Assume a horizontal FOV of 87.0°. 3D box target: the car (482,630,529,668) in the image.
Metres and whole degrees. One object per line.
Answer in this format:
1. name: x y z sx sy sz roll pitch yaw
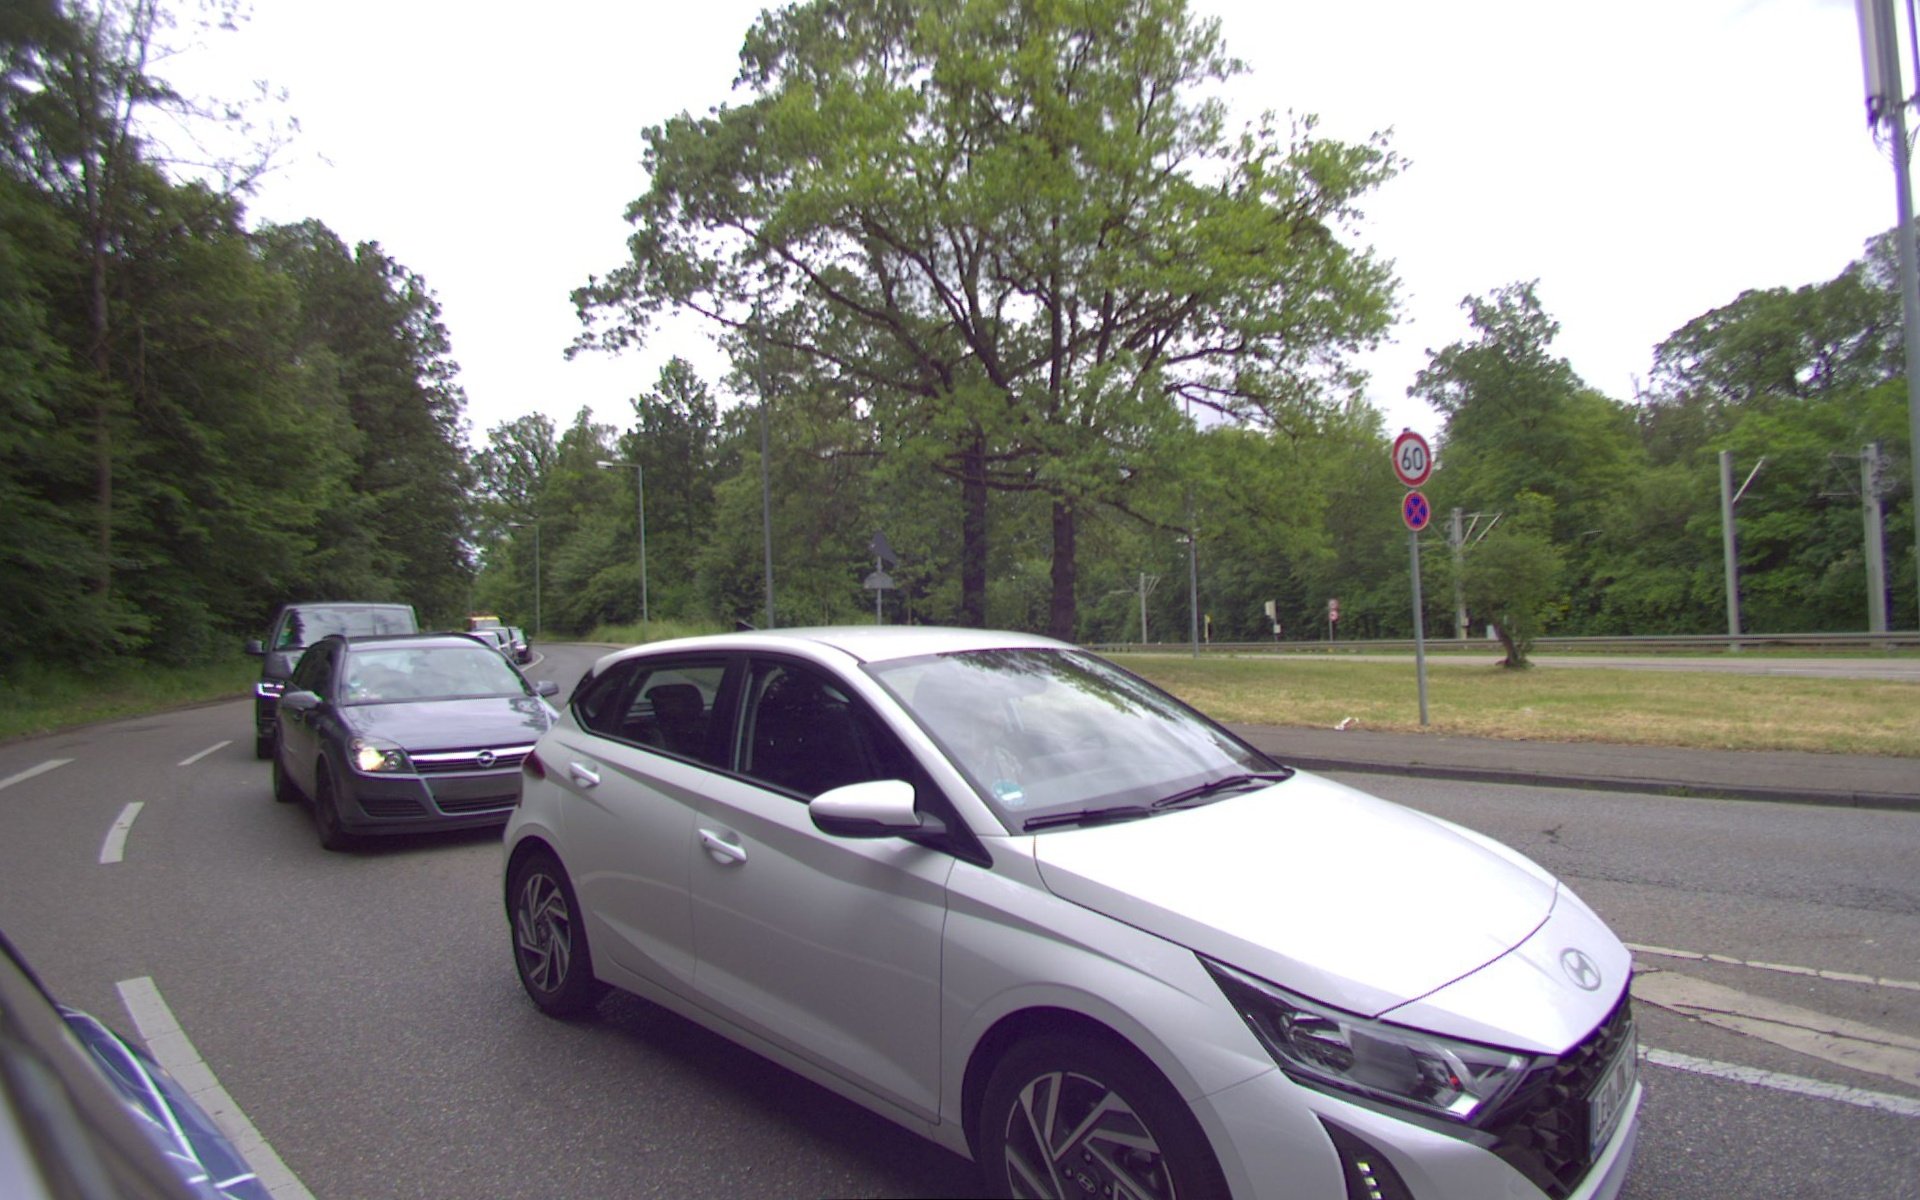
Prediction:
1. car: -19.389 2.075 43.130 1.748 1.511 3.885 0 -2 -25

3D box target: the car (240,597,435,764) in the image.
1. car: -8.398 0.989 13.920 1.957 1.887 4.545 0 -2 -29

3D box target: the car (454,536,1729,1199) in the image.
1. car: -0.070 0.732 3.419 4.073 1.490 1.631 -3 -2 43

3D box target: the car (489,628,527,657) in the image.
1. car: -25.353 2.391 56.841 1.749 1.511 3.885 -1 -2 -22

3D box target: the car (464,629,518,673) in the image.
1. car: -17.574 1.874 37.960 1.748 1.511 3.885 0 -2 -25

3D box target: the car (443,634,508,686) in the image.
1. car: -15.394 1.865 32.224 1.748 1.511 3.885 0 -2 -25

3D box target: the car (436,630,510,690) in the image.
1. car: -13.640 1.638 28.445 1.748 1.511 3.885 0 -2 -25

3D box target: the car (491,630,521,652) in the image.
1. car: -31.832 2.870 70.976 1.749 1.511 3.885 -1 -2 -22

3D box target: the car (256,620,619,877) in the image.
1. car: -4.489 0.965 8.280 1.775 1.490 4.478 0 -2 -39
